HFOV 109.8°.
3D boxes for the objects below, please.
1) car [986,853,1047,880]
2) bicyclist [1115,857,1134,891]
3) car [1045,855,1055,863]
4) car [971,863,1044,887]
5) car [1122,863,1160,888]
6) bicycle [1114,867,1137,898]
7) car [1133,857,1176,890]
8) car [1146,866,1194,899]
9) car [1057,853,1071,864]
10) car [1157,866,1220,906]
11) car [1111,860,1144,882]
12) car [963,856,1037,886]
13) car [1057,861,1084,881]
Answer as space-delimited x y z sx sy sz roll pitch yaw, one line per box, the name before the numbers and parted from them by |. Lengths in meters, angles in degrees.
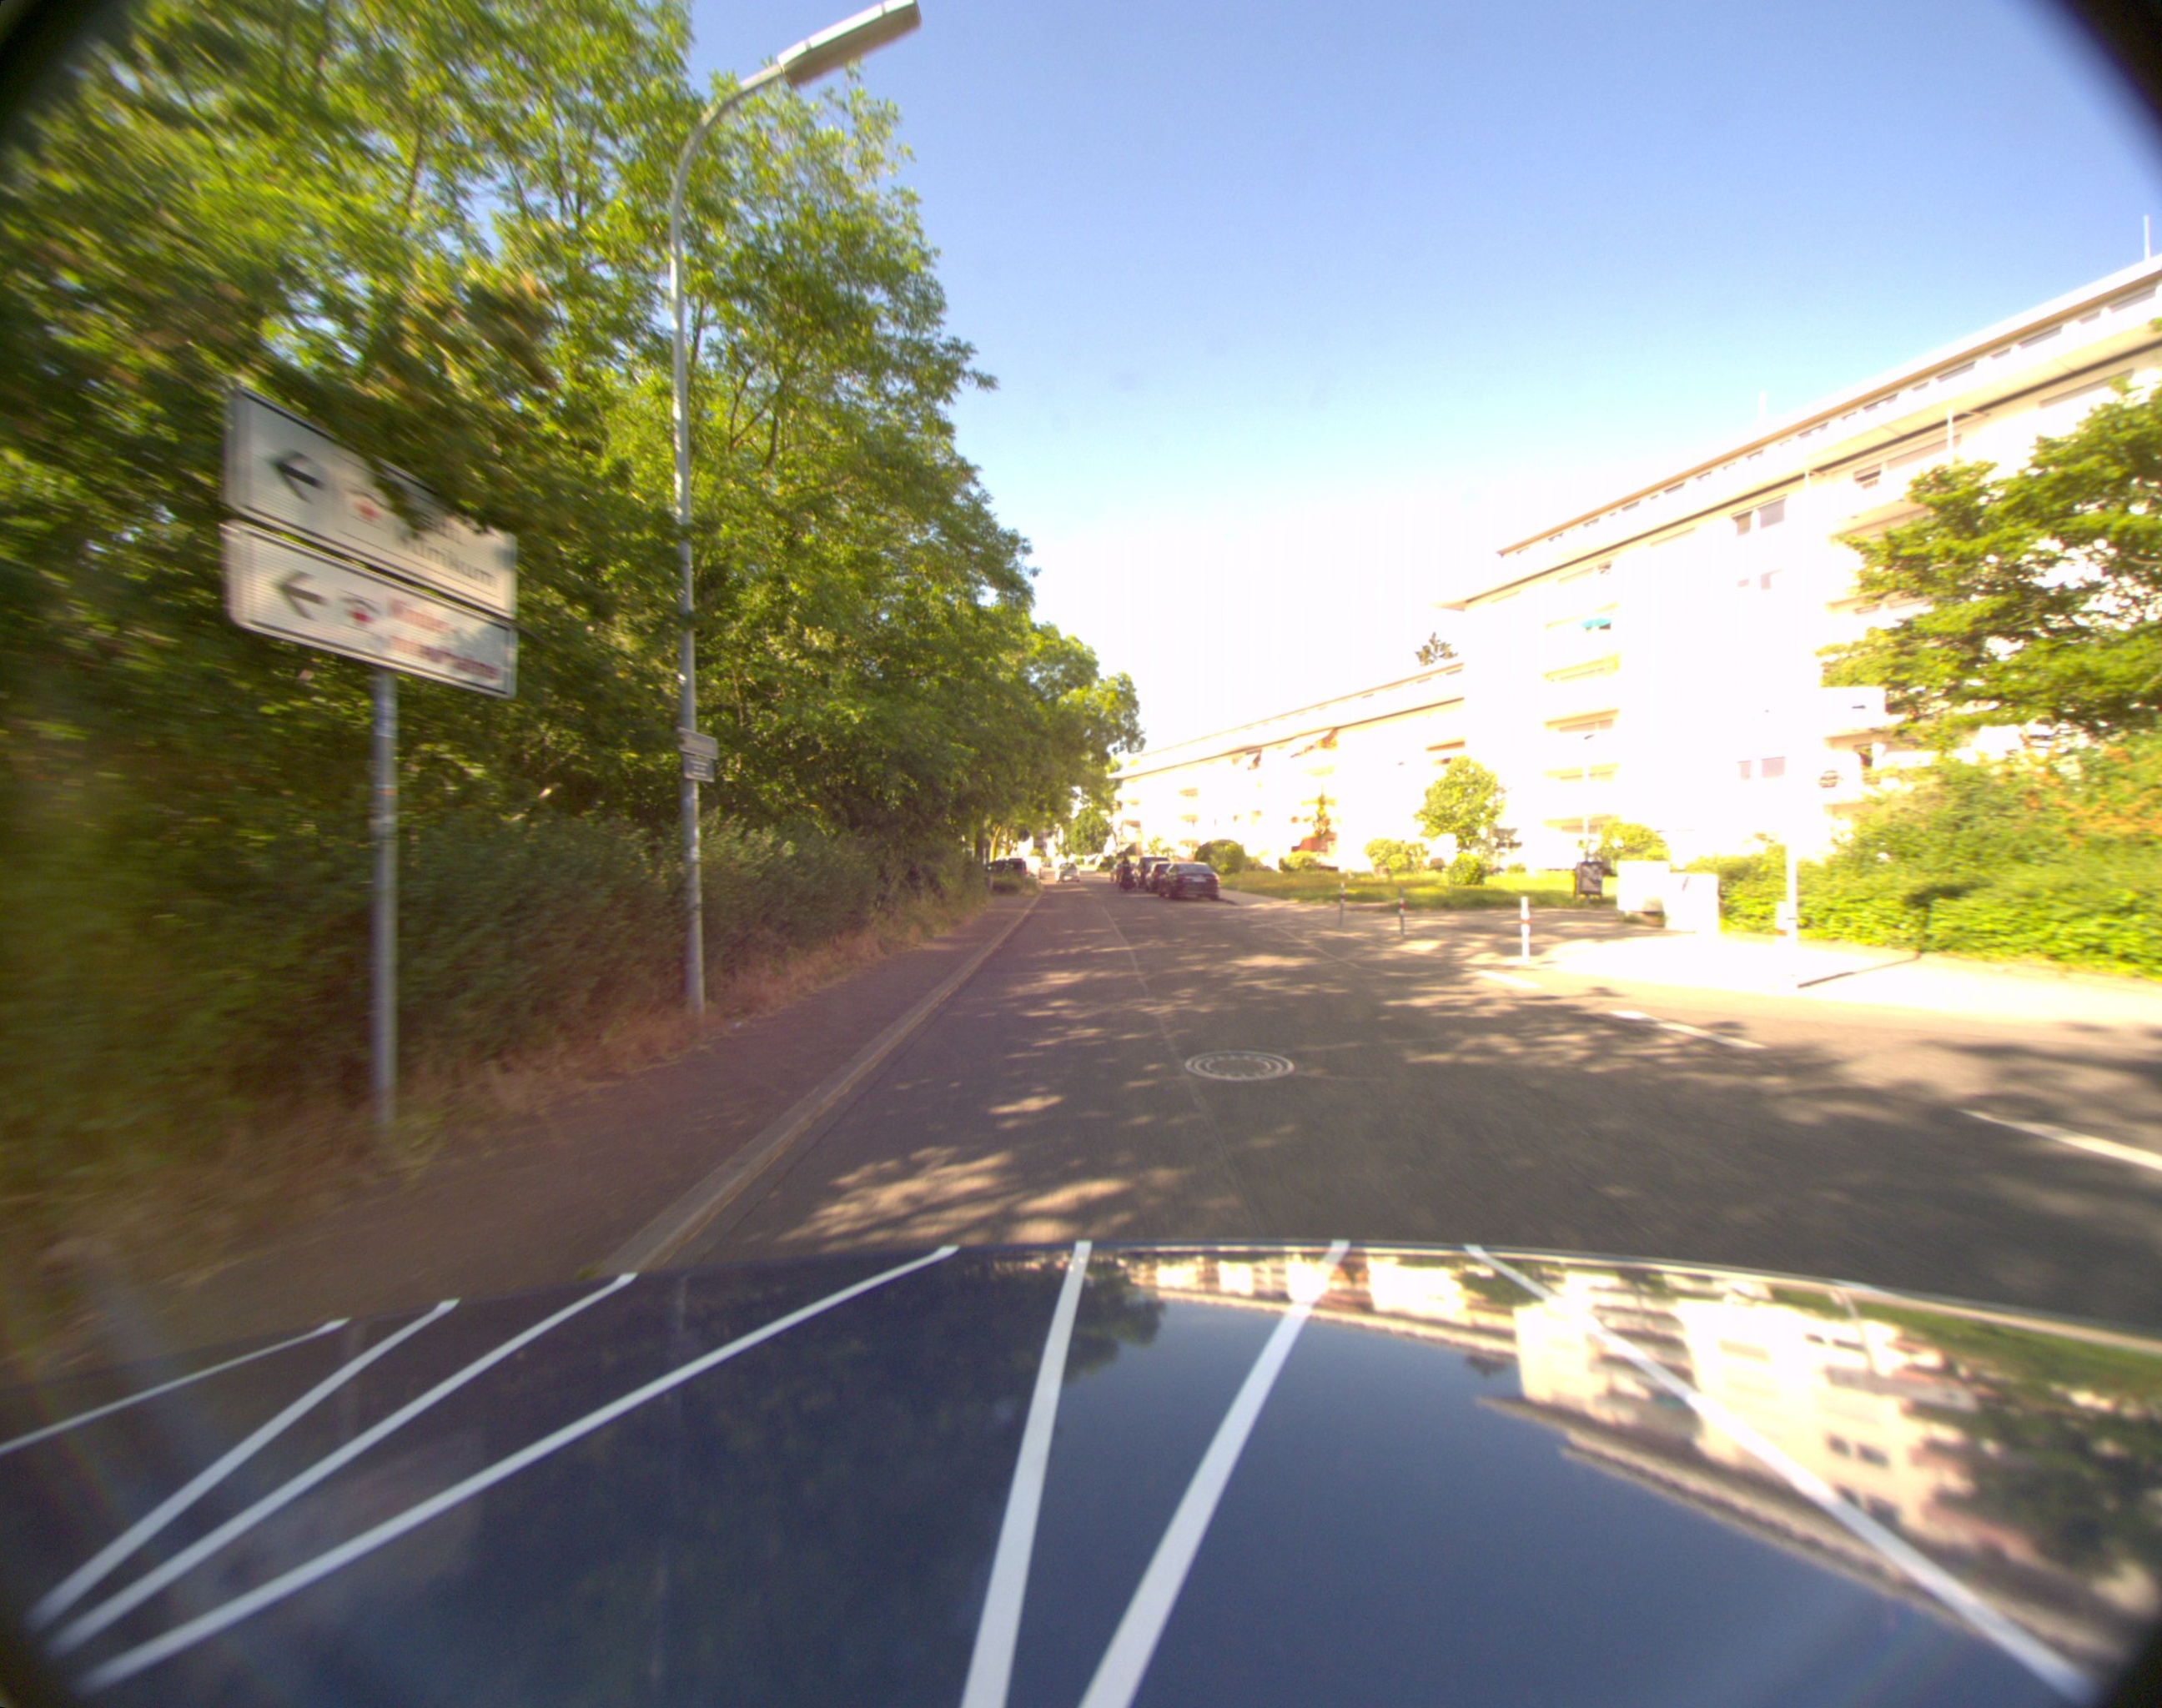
car | -4.827 0.924 57.629 4.463 2.005 2.021 0 0 -1
bicyclist | 2.173 0.977 38.006 0.847 1.648 1.064 -1 1 -1
car | -6.582 1.017 159.764 1.694 1.661 4.049 -2 0 -8
car | -4.570 1.279 47.573 4.463 1.406 1.774 0 0 -3
car | 3.855 1.369 49.579 1.845 1.473 4.573 1 0 -3
bicycle | 2.191 1.392 37.757 0.853 1.362 3.220 -1 0 -1
car | 4.142 1.071 43.557 1.845 1.770 4.887 0 0 -2
car | 4.272 1.349 37.009 1.844 1.446 4.018 0 0 0
car | -3.208 0.806 141.142 2.008 1.837 4.613 -3 0 -7
car | 4.201 1.213 30.367 1.732 1.455 4.681 0 -1 -2
car | 3.322 1.216 55.261 1.845 1.473 4.798 0 0 -4
car | -4.726 0.977 44.895 4.159 1.685 1.775 -1 0 0
car | -0.815 1.234 56.602 1.598 1.417 4.168 1 0 -6
